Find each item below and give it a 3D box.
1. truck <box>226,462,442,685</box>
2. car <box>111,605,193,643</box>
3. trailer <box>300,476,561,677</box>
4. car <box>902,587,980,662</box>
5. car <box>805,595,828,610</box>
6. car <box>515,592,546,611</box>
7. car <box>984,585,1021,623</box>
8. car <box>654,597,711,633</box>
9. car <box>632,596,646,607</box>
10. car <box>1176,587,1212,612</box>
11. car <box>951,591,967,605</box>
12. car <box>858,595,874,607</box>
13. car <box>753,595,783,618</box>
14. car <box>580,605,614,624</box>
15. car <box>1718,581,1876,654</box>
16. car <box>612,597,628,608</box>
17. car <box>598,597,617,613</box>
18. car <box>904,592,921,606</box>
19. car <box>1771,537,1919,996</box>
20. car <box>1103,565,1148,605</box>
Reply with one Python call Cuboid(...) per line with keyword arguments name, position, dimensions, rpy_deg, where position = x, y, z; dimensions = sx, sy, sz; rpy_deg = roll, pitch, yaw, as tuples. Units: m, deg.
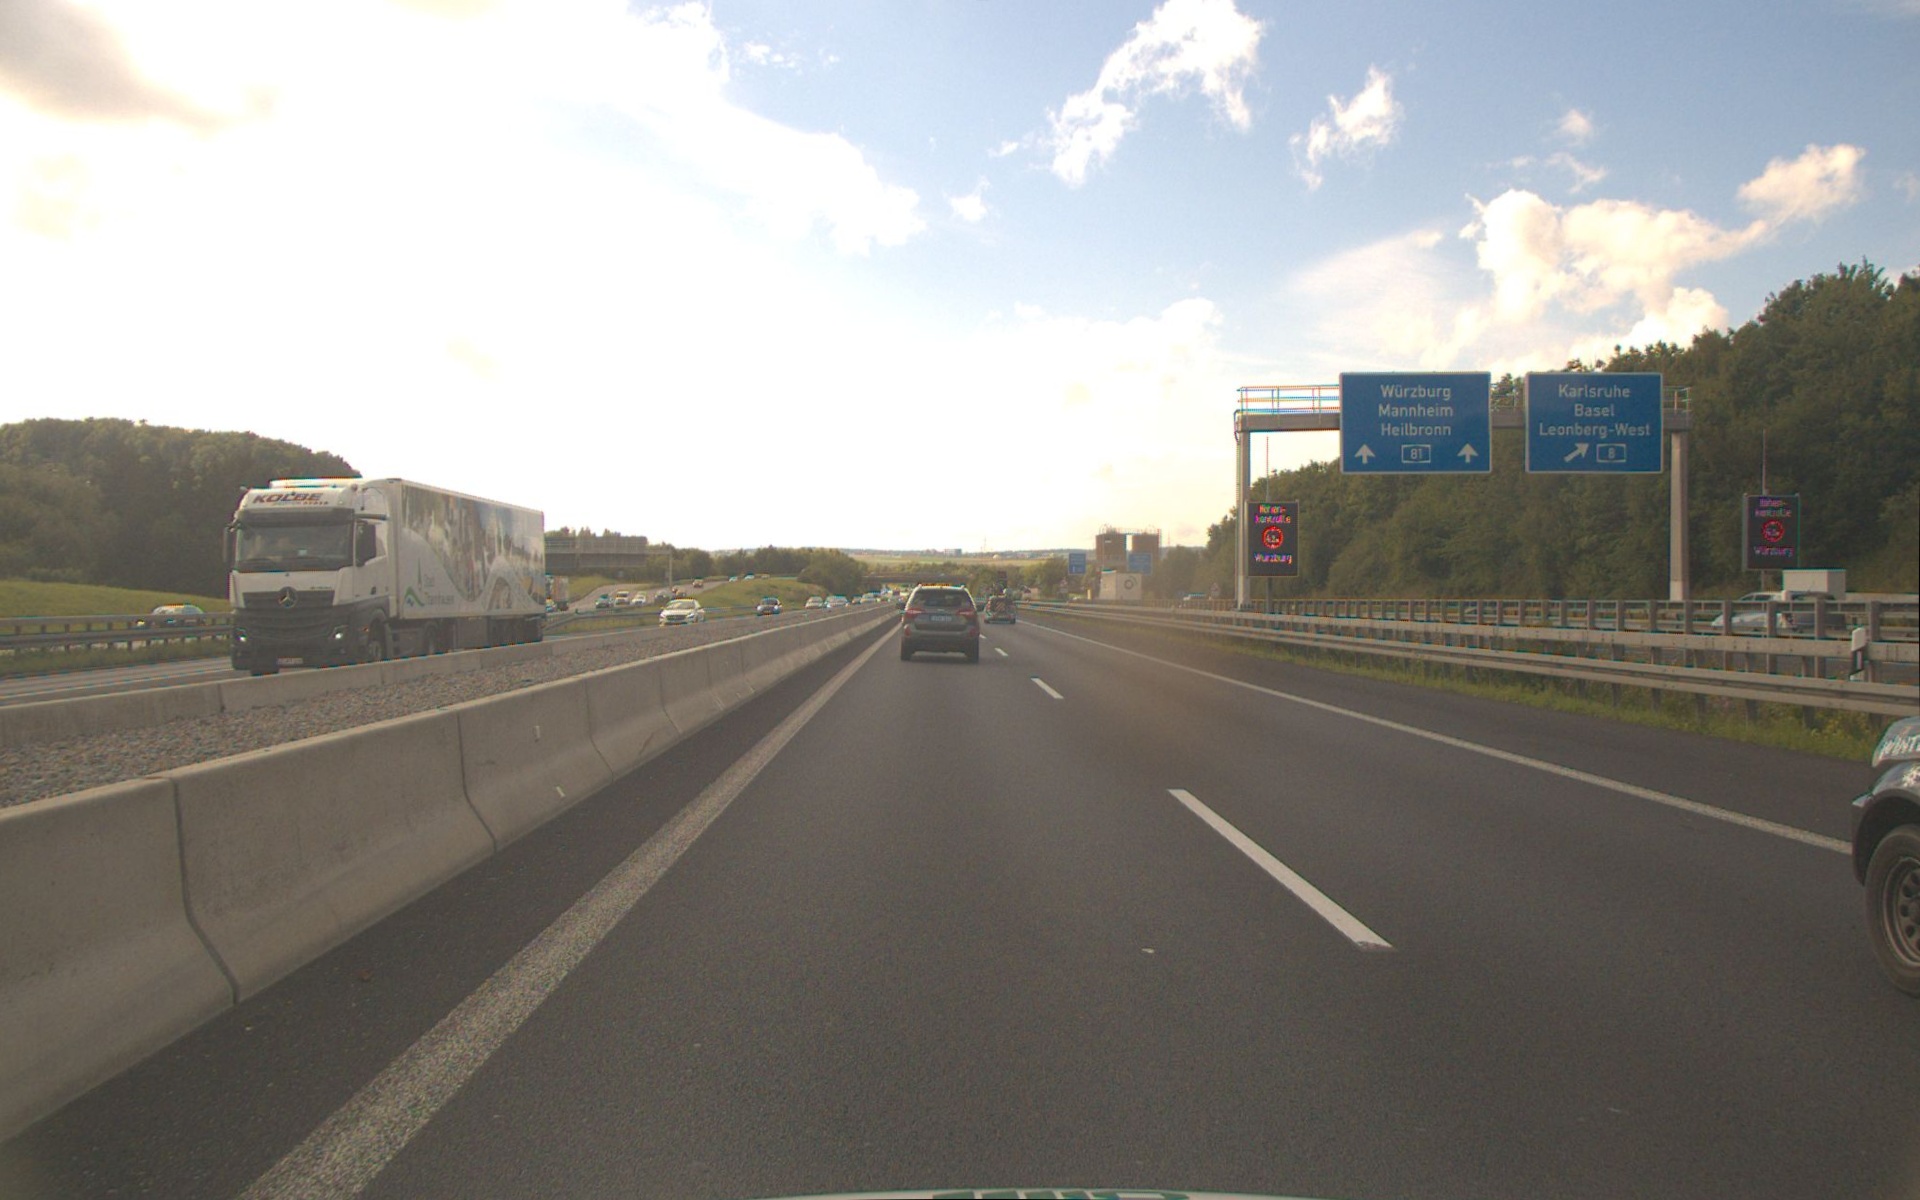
Cuboid(name="truck", position=(-12.727, -0.505, 34.089), dimensions=(2.438, 4.201, 5.297), rpy_deg=(-1, 0, -1))
Cuboid(name="car", position=(-37.496, 1.086, 76.859), dimensions=(1.764, 1.646, 4.301), rpy_deg=(-1, 0, -1))
Cuboid(name="trailer", position=(-12.793, -0.495, 41.618), dimensions=(2.438, 4.201, 13.280), rpy_deg=(-1, 0, -1))
Cuboid(name="car", position=(-0.418, 0.557, 39.021), dimensions=(1.714, 1.659, 3.609), rpy_deg=(-1, 0, 0))
Cuboid(name="car", position=(-14.622, 0.246, 168.713), dimensions=(1.953, 1.481, 4.180), rpy_deg=(-1, 0, -1))
Cuboid(name="car", position=(-39.039, 0.169, 150.370), dimensions=(1.764, 1.646, 4.301), rpy_deg=(-1, 0, -1))
Cuboid(name="car", position=(2.435, 0.244, 96.559), dimensions=(1.953, 2.117, 3.999), rpy_deg=(-1, 0, -1))
Cuboid(name="car", position=(-13.502, 0.720, 80.676), dimensions=(1.953, 1.646, 5.001), rpy_deg=(-1, 0, -1))
Cuboid(name="car", position=(-44.199, 0.185, 227.777), dimensions=(1.740, 1.425, 4.389), rpy_deg=(-1, 0, -9))
Cuboid(name="car", position=(16.640, -0.019, 117.771), dimensions=(1.953, 1.747, 3.999), rpy_deg=(-1, 0, -1))
Cuboid(name="car", position=(-0.129, -0.289, 219.569), dimensions=(1.935, 1.810, 4.119), rpy_deg=(-1, 0, -1))
Cuboid(name="car", position=(-12.153, 0.131, 214.556), dimensions=(1.953, 1.559, 5.020), rpy_deg=(-1, 0, -1))
Cuboid(name="car", position=(-14.454, 0.463, 124.508), dimensions=(1.764, 1.646, 4.301), rpy_deg=(-1, 0, -1))
Cuboid(name="car", position=(-29.452, 1.163, 134.449), dimensions=(1.903, 1.521, 4.127), rpy_deg=(-1, 0, -1))
Cuboid(name="car", position=(21.452, 0.426, 42.567), dimensions=(1.953, 1.738, 3.999), rpy_deg=(-1, 0, -1))
Cuboid(name="car", position=(-49.474, 0.418, 240.692), dimensions=(1.738, 1.575, 4.883), rpy_deg=(-1, 0, -6))
Cuboid(name="car", position=(-44.225, 0.674, 207.546), dimensions=(1.738, 1.930, 4.393), rpy_deg=(-1, 0, -5))
Cuboid(name="car", position=(-6.481, -0.128, 224.504), dimensions=(2.124, 1.876, 4.000), rpy_deg=(-1, 0, 0))
Cuboid(name="car", position=(4.495, 0.635, 5.410), dimensions=(1.632, 1.763, 4.207), rpy_deg=(0, 0, 0))
Cuboid(name="car", position=(16.392, -1.448, 164.133), dimensions=(3.504, 3.741, 7.547), rpy_deg=(-1, 0, -1))
